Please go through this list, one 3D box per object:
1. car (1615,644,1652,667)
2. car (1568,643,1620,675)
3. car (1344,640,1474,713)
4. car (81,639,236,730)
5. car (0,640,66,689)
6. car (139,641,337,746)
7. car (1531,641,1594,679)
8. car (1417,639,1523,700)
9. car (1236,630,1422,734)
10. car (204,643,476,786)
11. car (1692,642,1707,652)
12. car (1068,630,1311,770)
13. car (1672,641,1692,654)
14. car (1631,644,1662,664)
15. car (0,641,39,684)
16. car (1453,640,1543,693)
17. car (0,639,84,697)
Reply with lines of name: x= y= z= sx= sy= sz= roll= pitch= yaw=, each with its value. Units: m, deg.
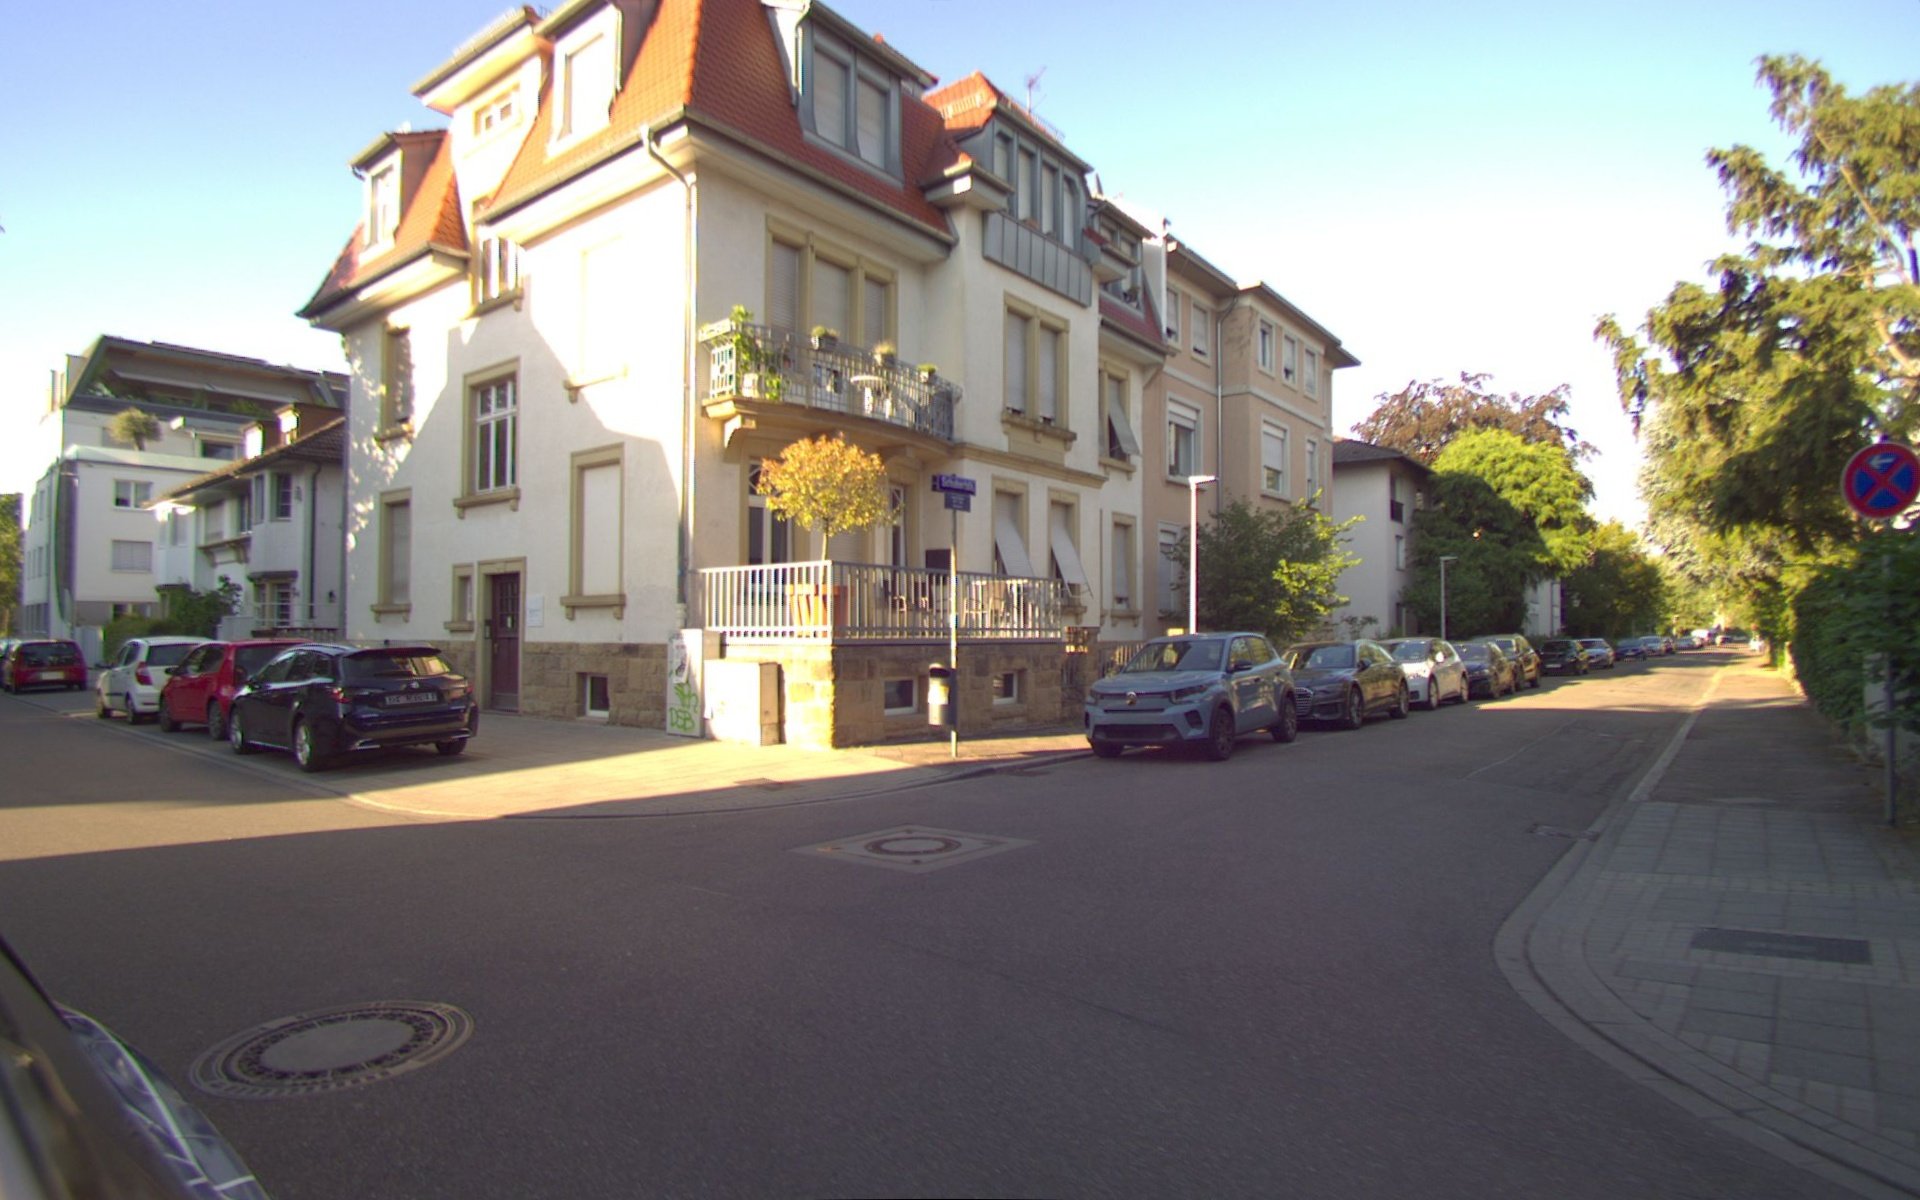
car: x=43.602 y=3.590 z=65.475 sx=1.679 sy=1.441 sz=3.908 roll=-4 pitch=-5 yaw=37
car: x=30.553 y=2.816 z=48.743 sx=1.679 sy=1.441 sz=3.908 roll=-4 pitch=-5 yaw=37
car: x=9.906 y=1.643 z=22.194 sx=1.679 sy=1.441 sz=3.908 roll=-4 pitch=-5 yaw=37
car: x=-15.174 y=1.530 z=19.111 sx=3.703 sy=1.532 sz=1.565 roll=-3 pitch=-3 yaw=40
car: x=-30.360 y=2.066 z=32.670 sx=4.376 sy=1.471 sz=1.720 roll=-3 pitch=-2 yaw=41
car: x=-11.664 y=1.431 z=16.288 sx=3.700 sy=1.488 sz=1.567 roll=-3 pitch=-3 yaw=37
car: x=24.509 y=2.442 z=41.103 sx=1.679 sy=1.441 sz=3.908 roll=-4 pitch=-5 yaw=37
car: x=13.126 y=1.754 z=25.929 sx=1.679 sy=1.441 sz=3.908 roll=-4 pitch=-5 yaw=37
car: x=6.540 y=1.377 z=17.644 sx=1.759 sy=1.571 sz=4.433 roll=-4 pitch=-5 yaw=37
car: x=-7.931 y=1.307 z=12.747 sx=4.628 sy=1.465 sz=1.636 roll=-3 pitch=-3 yaw=41
car: x=114.786 y=7.345 z=157.098 sx=1.679 sy=1.441 sz=3.908 roll=-4 pitch=-5 yaw=37
car: x=3.155 y=1.252 z=13.427 sx=1.758 sy=1.571 sz=3.727 roll=-4 pitch=-5 yaw=36
car: x=85.218 y=5.621 z=119.453 sx=1.679 sy=1.441 sz=3.908 roll=-4 pitch=-5 yaw=37
car: x=53.168 y=4.197 z=78.361 sx=1.679 sy=1.441 sz=3.908 roll=-4 pitch=-5 yaw=37
car: x=-34.941 y=2.258 z=36.586 sx=4.559 sy=1.471 sz=1.721 roll=-3 pitch=-2 yaw=38
car: x=15.929 y=1.941 z=29.866 sx=1.679 sy=1.441 sz=3.908 roll=-4 pitch=-5 yaw=37
car: x=-26.338 y=1.910 z=28.876 sx=3.428 sy=1.494 sz=1.633 roll=-3 pitch=-2 yaw=42
